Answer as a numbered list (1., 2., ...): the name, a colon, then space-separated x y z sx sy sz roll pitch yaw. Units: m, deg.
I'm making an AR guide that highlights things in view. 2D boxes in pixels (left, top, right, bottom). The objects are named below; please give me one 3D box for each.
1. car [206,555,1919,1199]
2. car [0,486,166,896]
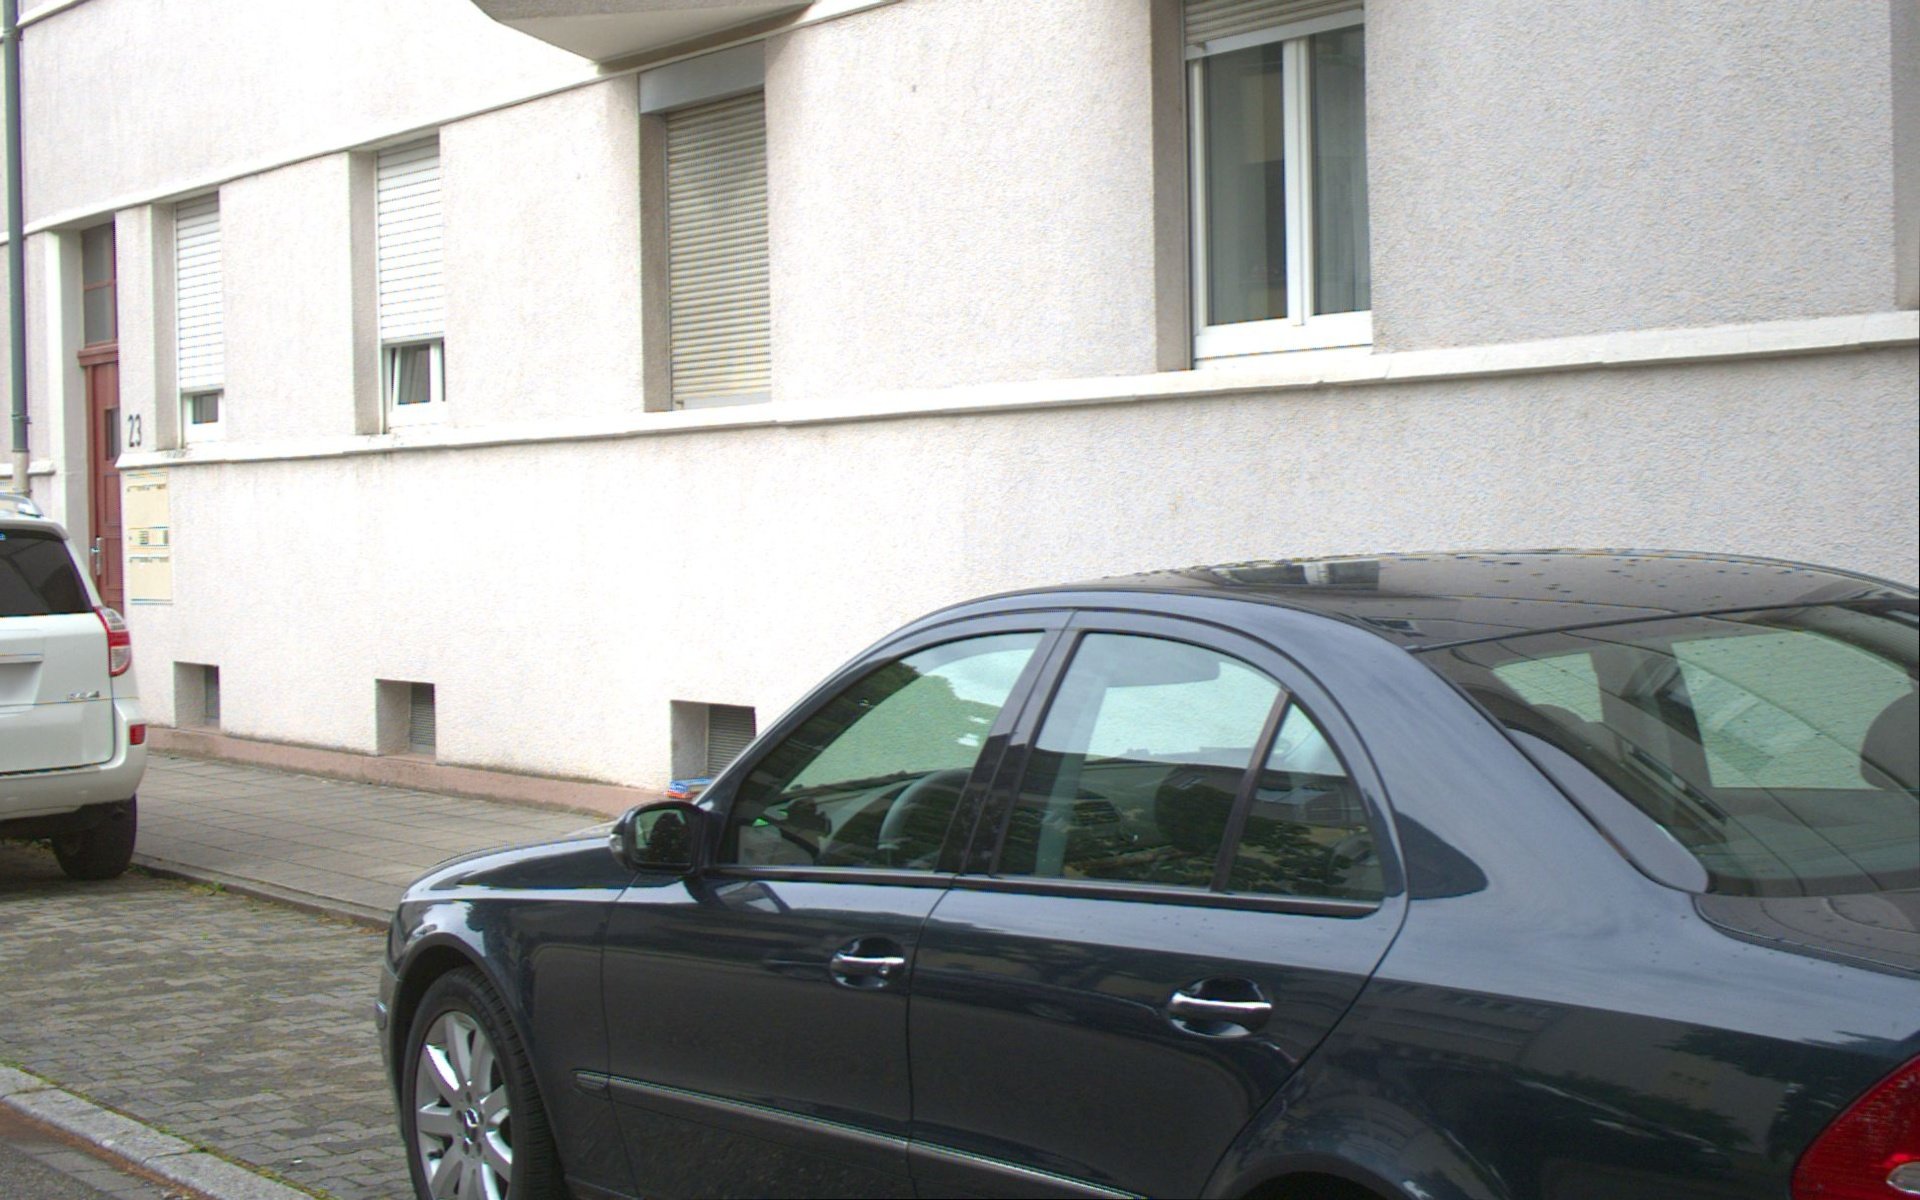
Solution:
1. car: 0.455 0.686 5.889 1.745 1.416 4.950 -3 3 -33
2. car: -5.328 0.355 15.781 1.843 1.668 4.289 -3 3 -33
